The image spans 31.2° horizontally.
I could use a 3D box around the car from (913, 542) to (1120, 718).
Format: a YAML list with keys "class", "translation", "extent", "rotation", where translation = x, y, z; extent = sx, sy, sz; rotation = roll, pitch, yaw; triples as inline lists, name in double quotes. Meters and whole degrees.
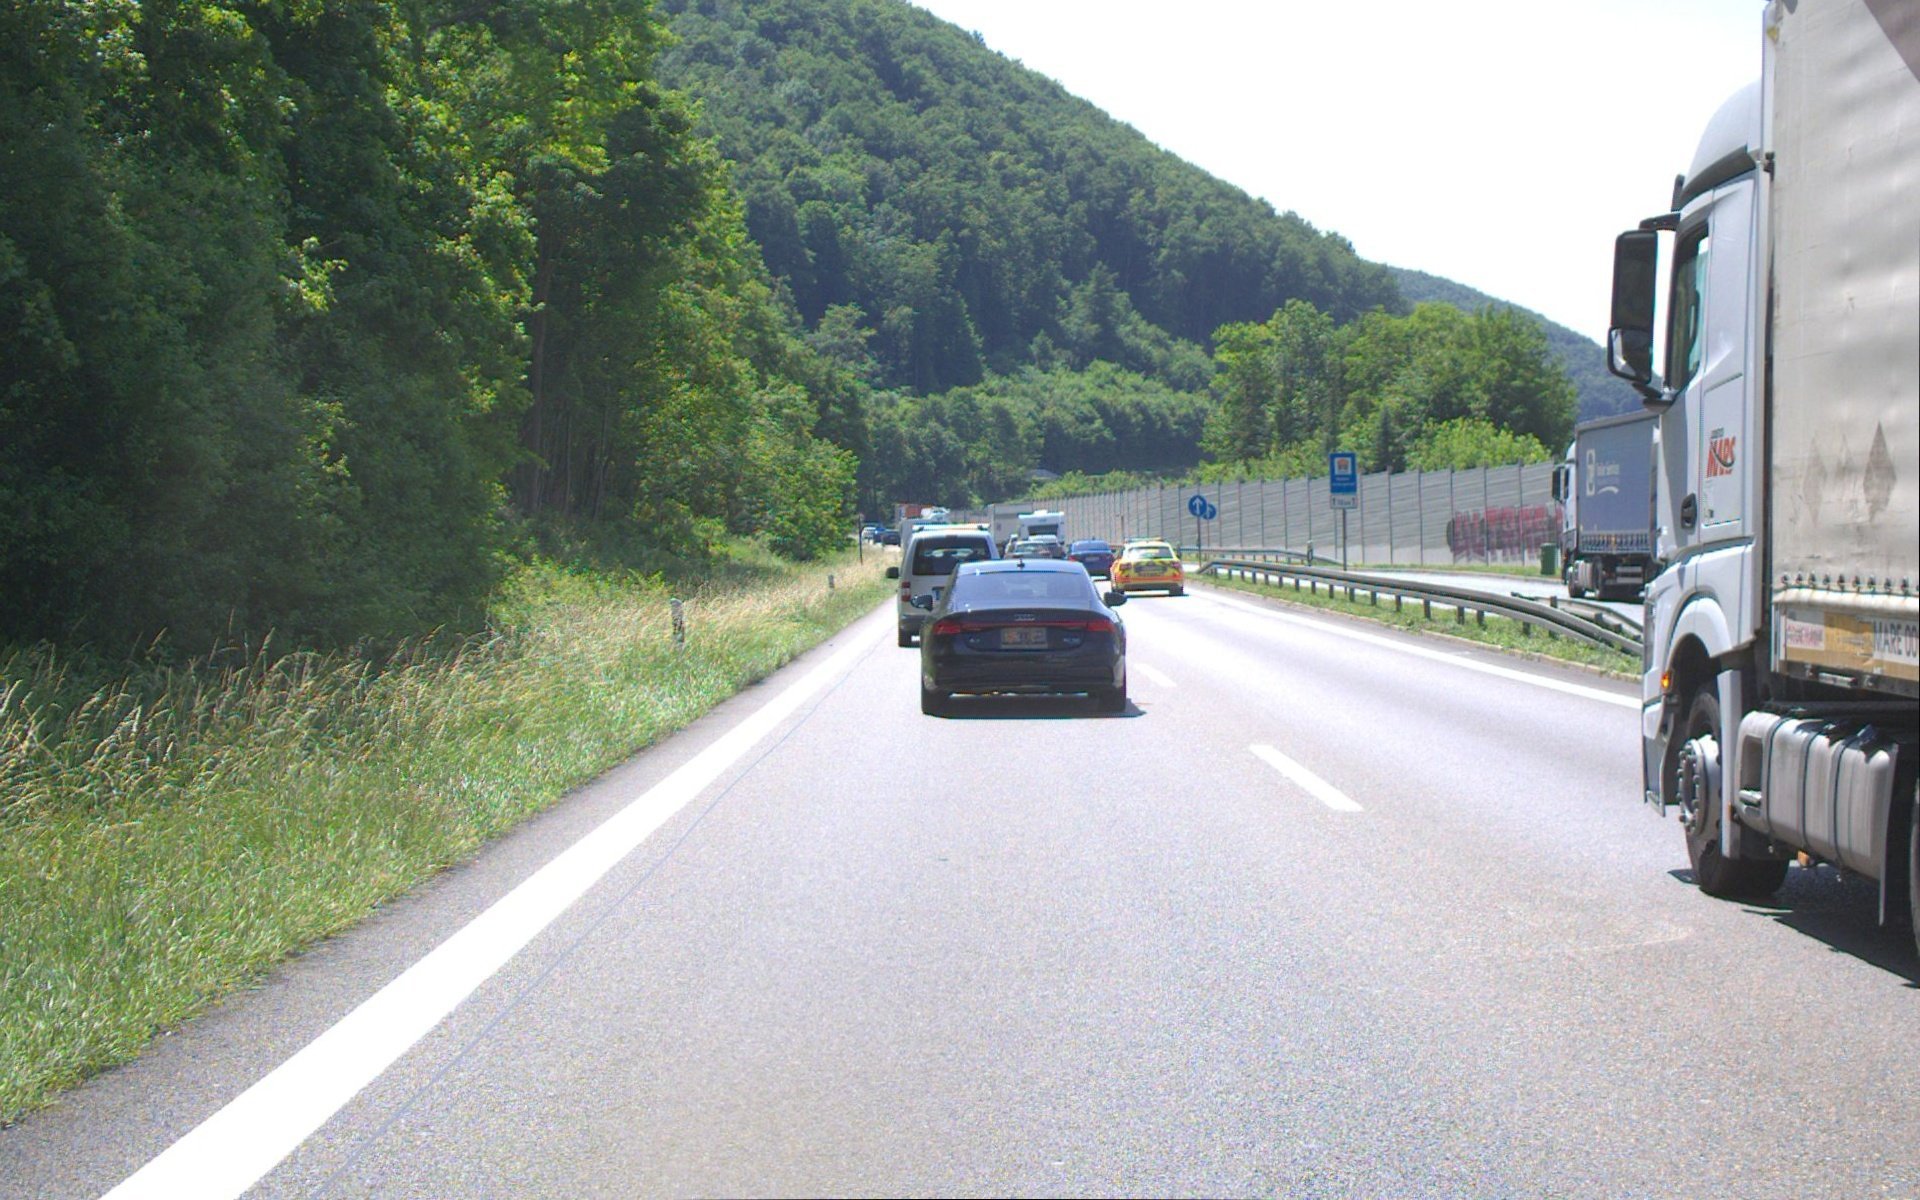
- class: "car"
  translation: [0.488, 0.234, 32.028]
  extent: [1.812, 1.509, 3.515]
  rotation: [-1, 1, 0]

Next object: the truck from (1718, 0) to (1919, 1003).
- class: "truck"
  translation: [4.489, -0.702, 6.680]
  extent: [2.726, 4.054, 13.742]
  rotation: [1, 0, -1]

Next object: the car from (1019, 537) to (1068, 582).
- class: "car"
  translation: [3.830, -1.854, 158.663]
  extent: [2.086, 2.007, 4.000]
  rotation: [2, 0, 0]

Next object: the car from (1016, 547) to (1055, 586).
- class: "car"
  translation: [3.133, -1.387, 143.472]
  extent: [1.530, 1.520, 3.597]
  rotation: [2, 0, 0]

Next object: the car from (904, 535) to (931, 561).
- class: "car"
  translation: [-2.601, -3.205, 210.907]
  extent: [1.489, 1.491, 3.590]
  rotation: [2, 0, 0]

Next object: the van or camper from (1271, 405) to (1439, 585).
- class: "van or camper"
  translation: [8.898, -2.309, 78.071]
  extent: [2.794, 3.828, 6.167]
  rotation: [2, 0, -2]

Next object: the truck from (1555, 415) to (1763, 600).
- class: "truck"
  translation: [15.328, -2.014, 75.755]
  extent: [3.411, 3.887, 5.388]
  rotation: [1, 1, 0]

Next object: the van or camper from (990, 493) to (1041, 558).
- class: "van or camper"
  translation: [3.510, -4.714, 218.893]
  extent: [2.794, 3.894, 6.167]
  rotation: [2, 0, -2]

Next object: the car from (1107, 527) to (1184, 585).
- class: "car"
  translation: [4.959, -1.184, 92.460]
  extent: [1.879, 1.493, 4.000]
  rotation: [1, 1, 1]

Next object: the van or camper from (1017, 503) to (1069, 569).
- class: "van or camper"
  translation: [4.166, -3.202, 173.111]
  extent: [2.429, 3.144, 5.203]
  rotation: [2, 0, 0]

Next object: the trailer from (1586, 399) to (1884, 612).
- class: "trailer"
  translation: [15.368, -1.859, 69.254]
  extent: [3.411, 3.887, 11.152]
  rotation: [1, 1, 0]

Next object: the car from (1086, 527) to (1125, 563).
- class: "car"
  translation: [8.269, -3.129, 195.804]
  extent: [1.993, 2.007, 4.000]
  rotation: [1, 1, -1]

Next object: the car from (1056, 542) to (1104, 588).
- class: "car"
  translation: [4.175, -1.210, 119.736]
  extent: [1.530, 1.520, 3.597]
  rotation: [2, 0, 0]

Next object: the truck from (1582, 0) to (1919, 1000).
- class: "truck"
  translation: [4.403, -0.745, 13.480]
  extent: [2.719, 4.054, 5.754]
  rotation: [1, 0, -1]

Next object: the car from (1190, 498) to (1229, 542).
- class: "car"
  translation: [11.413, -3.647, 157.546]
  extent: [1.576, 2.007, 3.428]
  rotation: [0, 1, 0]

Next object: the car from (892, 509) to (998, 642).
- class: "car"
  translation: [-0.236, -0.394, 54.451]
  extent: [1.521, 1.961, 3.514]
  rotation: [3, 1, 0]
